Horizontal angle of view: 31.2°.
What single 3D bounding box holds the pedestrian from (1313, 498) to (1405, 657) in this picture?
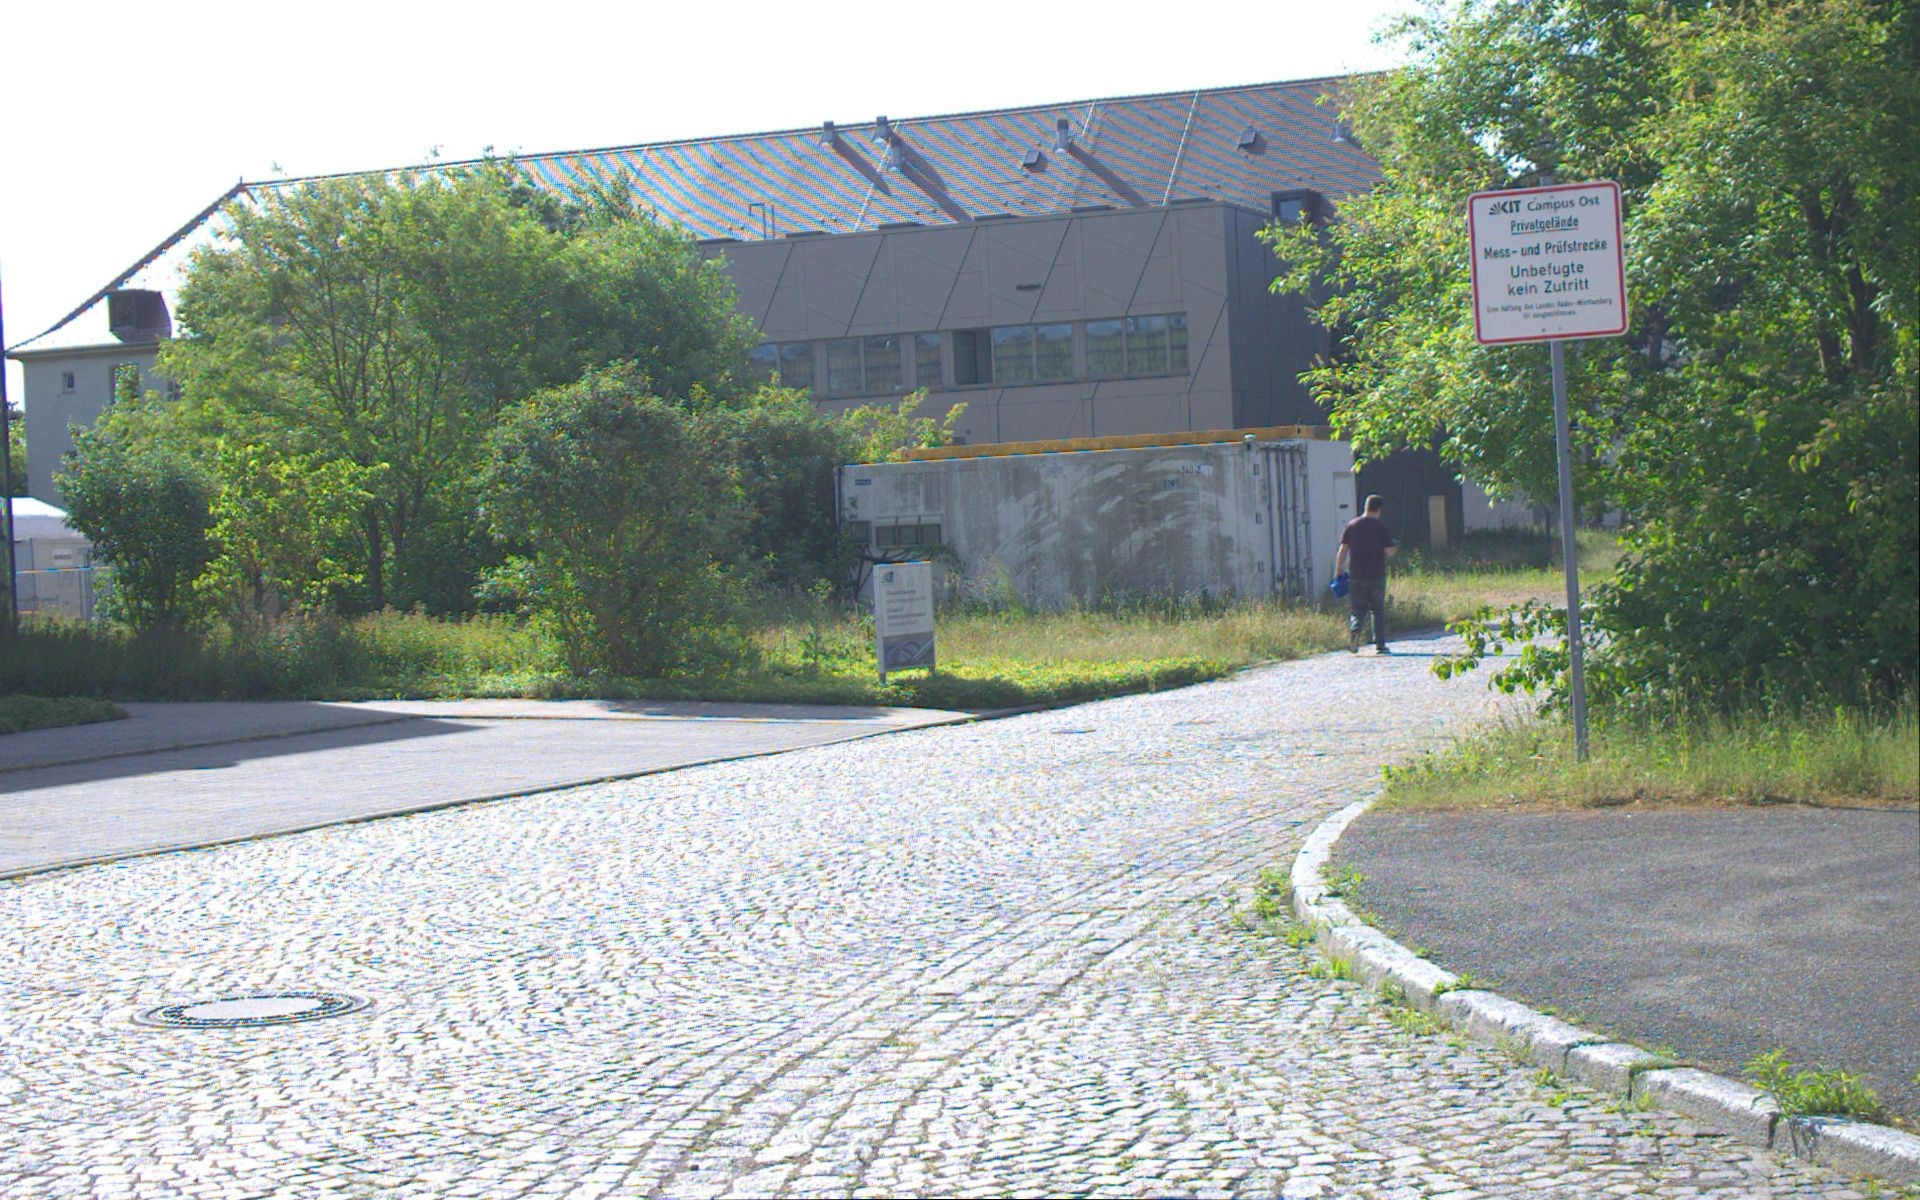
[{"bbox_3d":[4.543,-0.262,39.116,0.795,1.774,1.067,-1,1,19],"label":"pedestrian"}]
